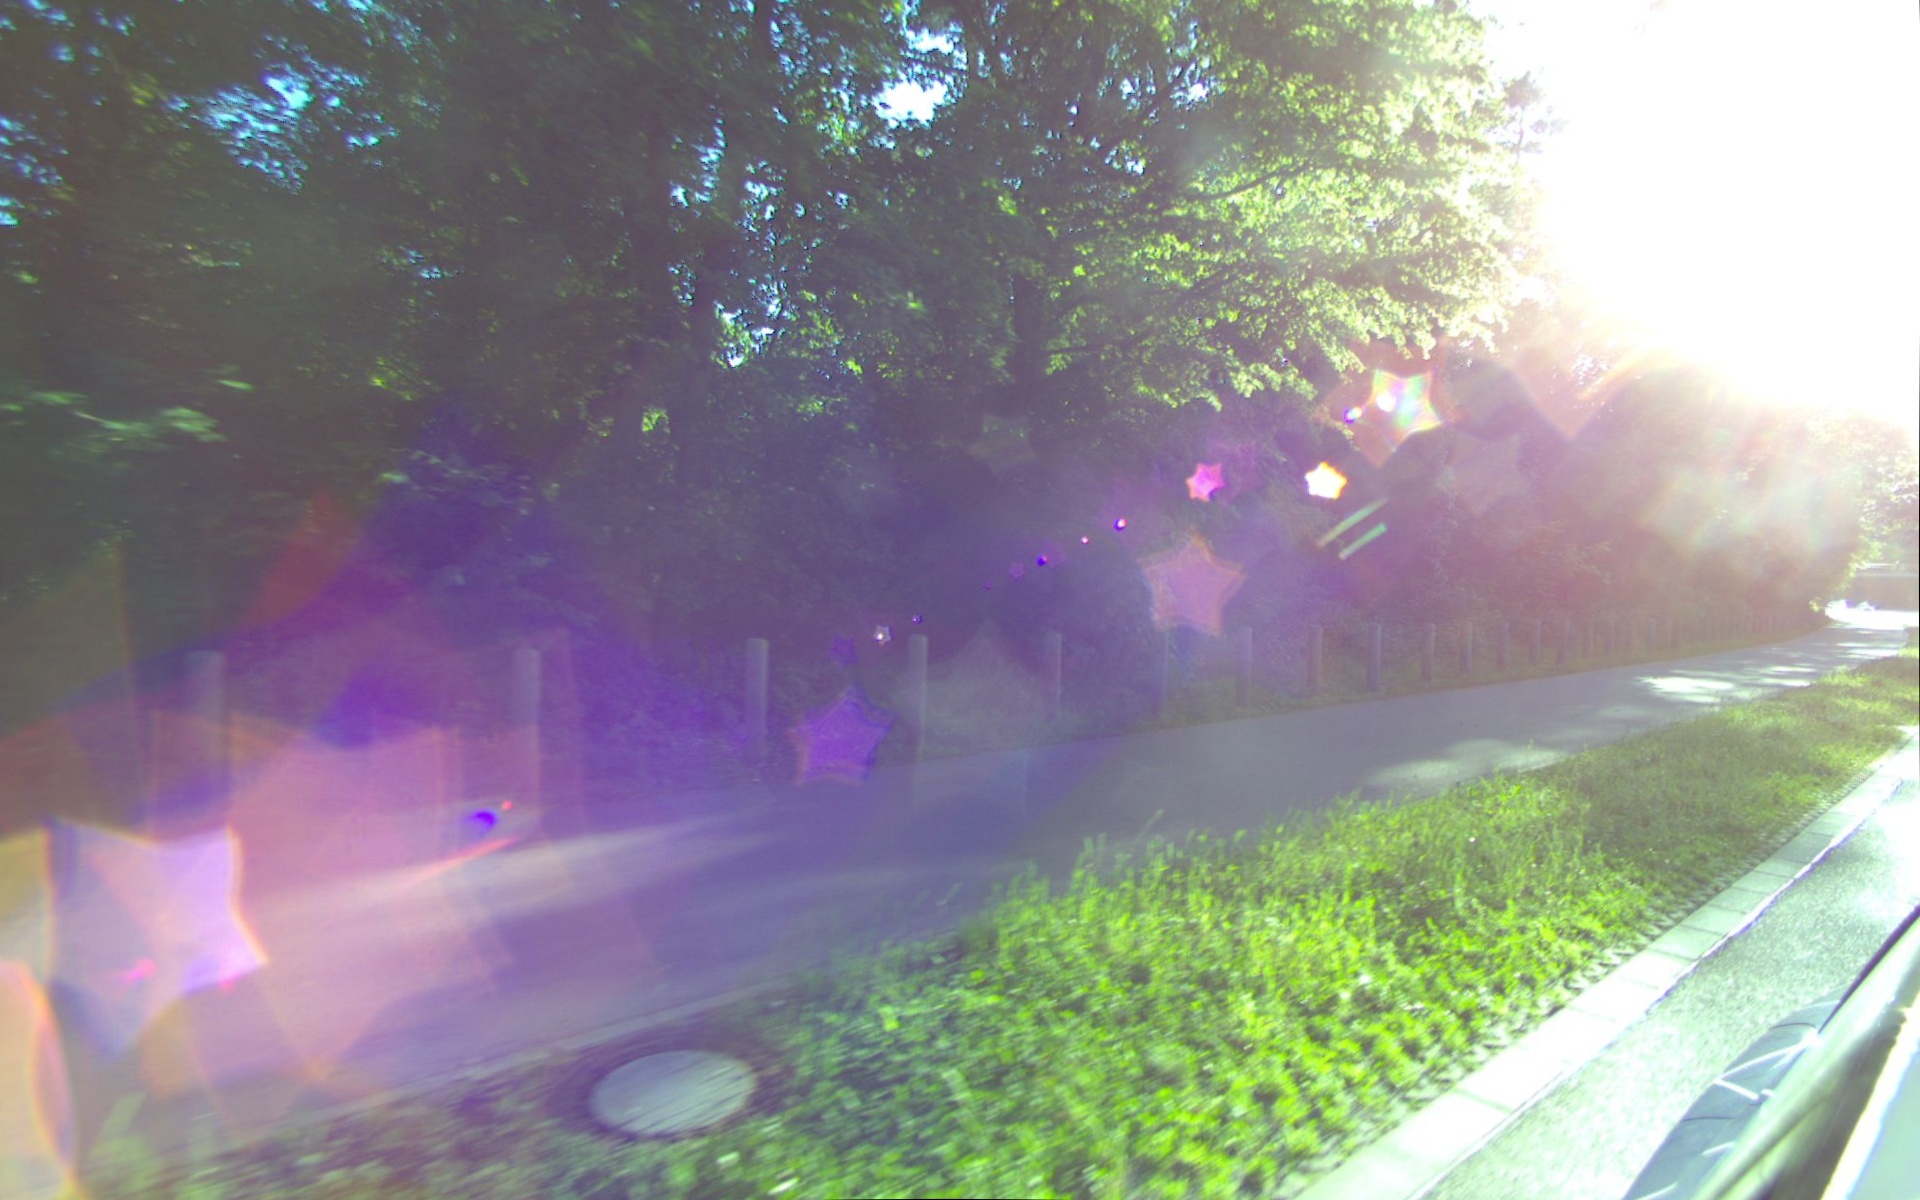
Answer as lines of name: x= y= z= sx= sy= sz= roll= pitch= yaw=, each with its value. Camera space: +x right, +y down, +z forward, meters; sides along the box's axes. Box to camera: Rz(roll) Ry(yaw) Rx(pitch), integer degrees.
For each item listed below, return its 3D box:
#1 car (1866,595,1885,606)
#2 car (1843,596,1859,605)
car: x=152.751 y=0.114 z=168.880 sx=1.816 sy=1.705 sz=3.950 roll=2 pitch=1 yaw=35
car: x=171.306 y=0.137 z=194.505 sx=1.816 sy=1.705 sz=3.950 roll=2 pitch=1 yaw=35
